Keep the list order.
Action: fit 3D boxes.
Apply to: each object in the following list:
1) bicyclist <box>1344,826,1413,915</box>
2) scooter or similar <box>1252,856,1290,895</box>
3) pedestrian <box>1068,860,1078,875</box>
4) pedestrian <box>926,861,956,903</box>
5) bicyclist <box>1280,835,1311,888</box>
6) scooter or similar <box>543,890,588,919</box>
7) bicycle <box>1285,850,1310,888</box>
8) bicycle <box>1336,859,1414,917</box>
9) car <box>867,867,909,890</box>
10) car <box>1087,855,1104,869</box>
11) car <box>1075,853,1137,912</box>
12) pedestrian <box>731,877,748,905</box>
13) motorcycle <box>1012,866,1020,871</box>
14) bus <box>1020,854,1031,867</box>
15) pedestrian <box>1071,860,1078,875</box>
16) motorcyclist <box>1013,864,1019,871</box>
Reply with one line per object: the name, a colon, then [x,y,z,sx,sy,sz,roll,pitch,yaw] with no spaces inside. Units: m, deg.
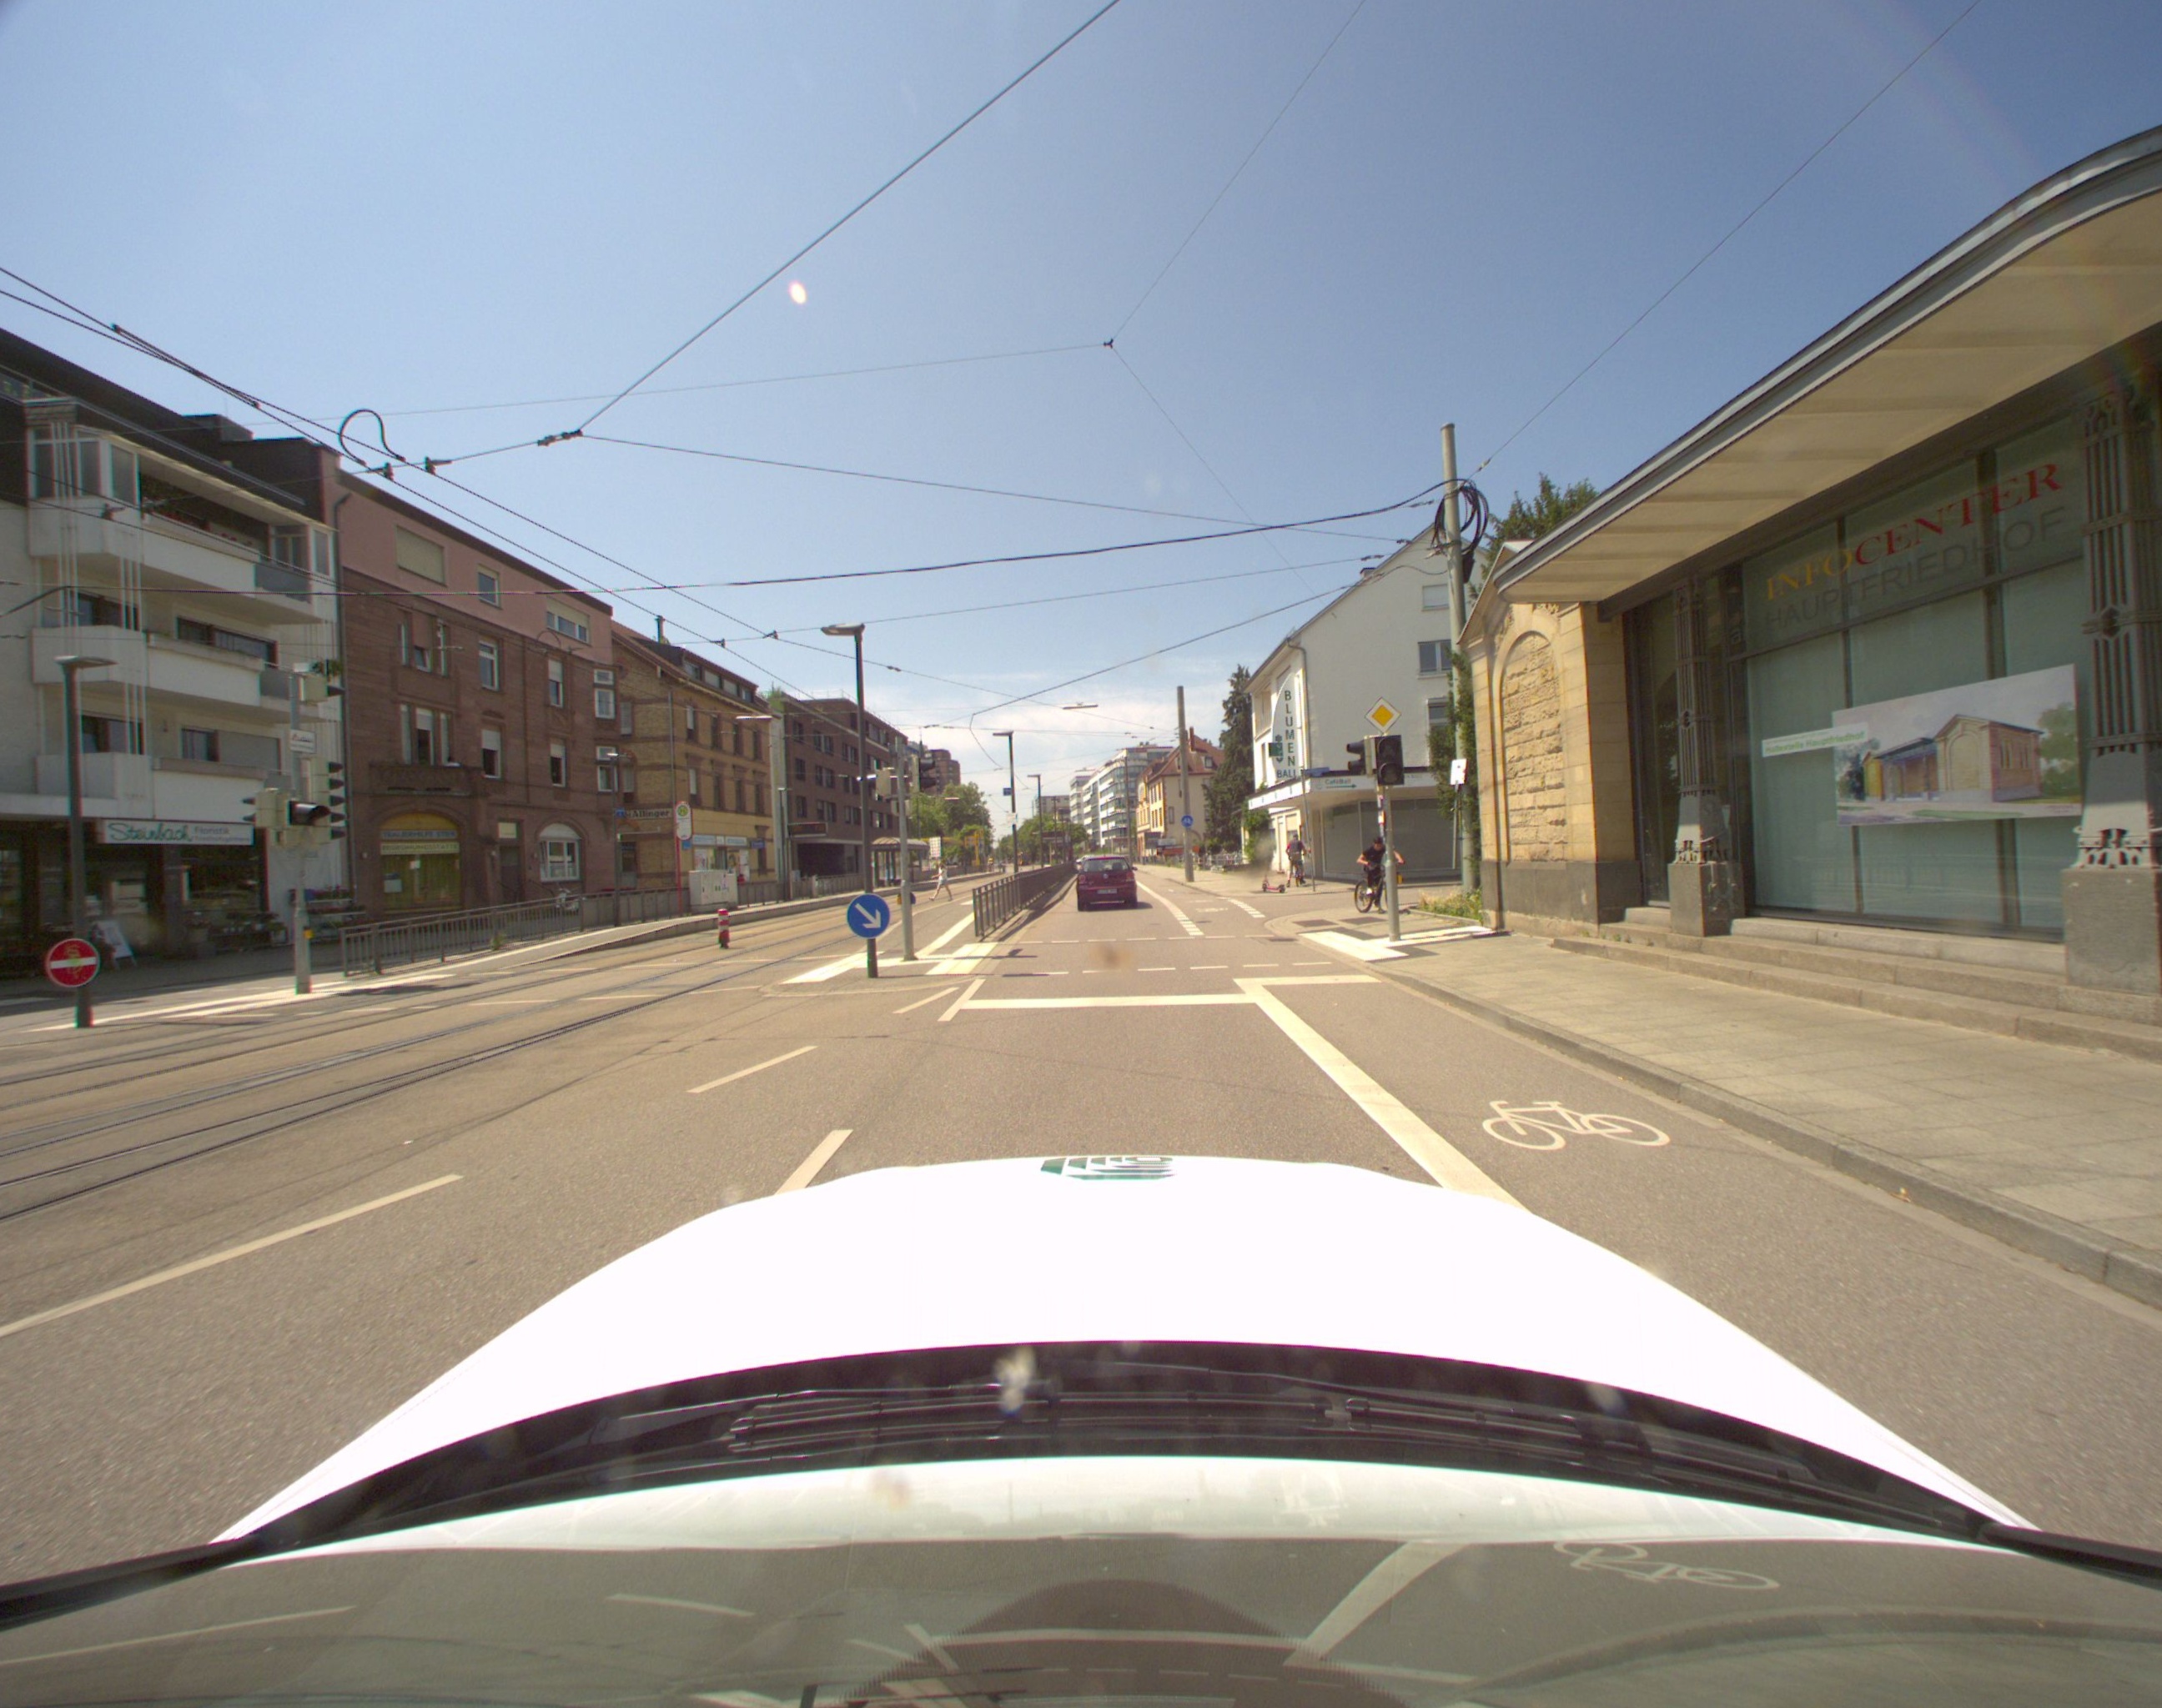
bicyclist: [5.887,0.326,16.143,0.831,1.618,0.859,-7,0,-3]
scooter or similar: [5.996,0.674,25.786,0.341,1.178,1.456,-3,-1,-23]
pedestrian: [-0.986,1.751,104.852,1.166,1.836,0.791,-3,0,-2]
pedestrian: [-5.760,1.143,33.506,1.096,1.674,0.764,-3,-1,-7]
bicyclist: [7.369,0.237,27.955,0.720,1.760,0.929,-3,0,28]
scooter or similar: [-21.254,2.065,33.604,0.484,1.082,1.584,-3,0,18]
bicycle: [7.431,0.495,27.861,0.372,1.197,1.917,-3,0,27]
bicycle: [5.796,0.652,16.181,0.667,1.002,1.861,-7,0,-3]
car: [-14.639,1.807,62.039,1.985,1.508,4.004,-3,0,3]
car: [1.773,0.964,101.516,1.987,1.624,4.630,-3,0,-1]
car: [0.660,0.748,22.657,1.556,1.453,3.061,-3,0,0]
pedestrian: [-19.252,2.088,45.955,0.612,1.560,0.640,-3,0,0]
motorcycle: [-11.416,2.560,143.636,0.866,0.806,1.916,-3,0,13]
bus: [-13.913,1.598,204.670,2.144,3.003,6.555,-3,0,-8]
pedestrian: [-0.808,1.758,103.432,0.743,1.836,0.791,-3,0,-2]
motorcyclist: [-11.413,2.390,143.652,0.843,1.139,0.637,-3,0,13]
